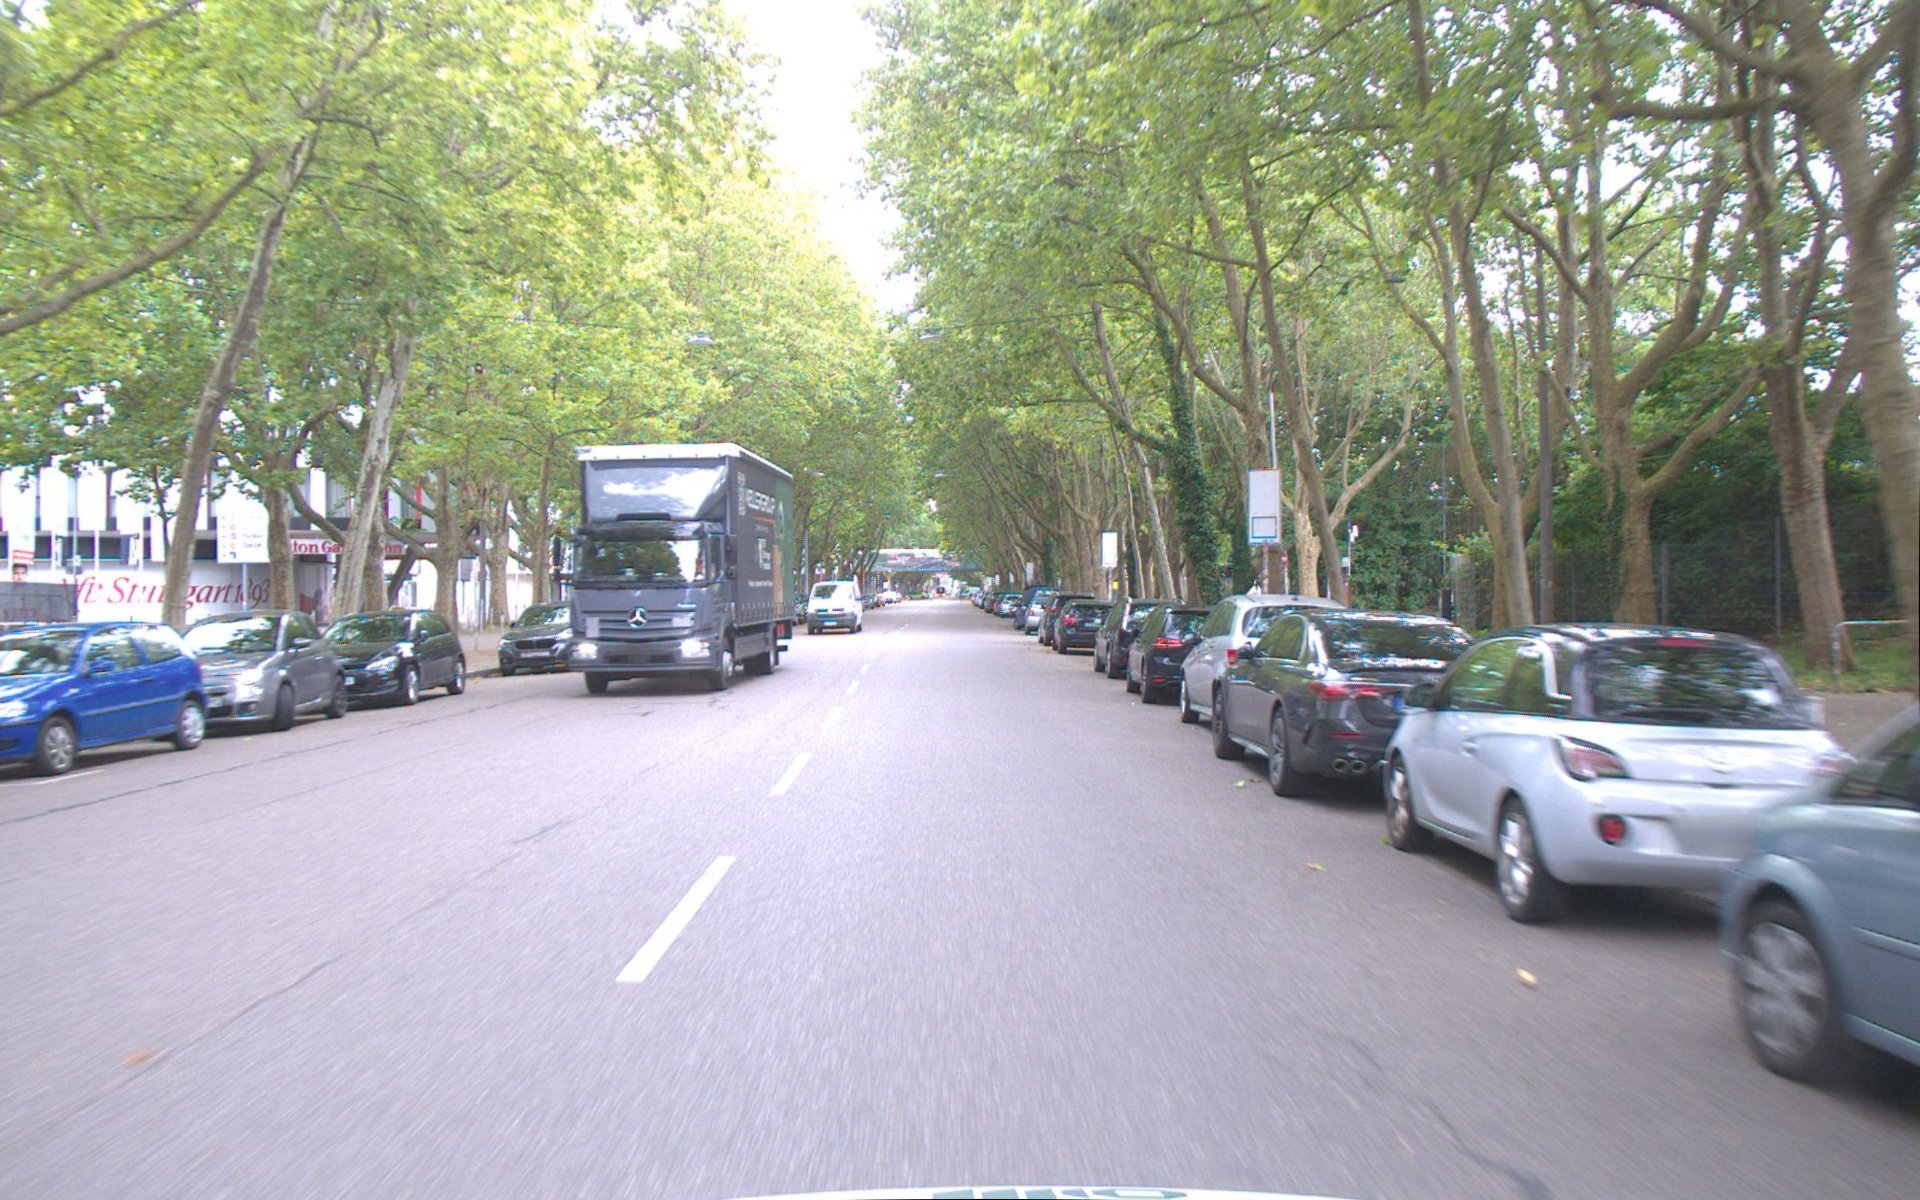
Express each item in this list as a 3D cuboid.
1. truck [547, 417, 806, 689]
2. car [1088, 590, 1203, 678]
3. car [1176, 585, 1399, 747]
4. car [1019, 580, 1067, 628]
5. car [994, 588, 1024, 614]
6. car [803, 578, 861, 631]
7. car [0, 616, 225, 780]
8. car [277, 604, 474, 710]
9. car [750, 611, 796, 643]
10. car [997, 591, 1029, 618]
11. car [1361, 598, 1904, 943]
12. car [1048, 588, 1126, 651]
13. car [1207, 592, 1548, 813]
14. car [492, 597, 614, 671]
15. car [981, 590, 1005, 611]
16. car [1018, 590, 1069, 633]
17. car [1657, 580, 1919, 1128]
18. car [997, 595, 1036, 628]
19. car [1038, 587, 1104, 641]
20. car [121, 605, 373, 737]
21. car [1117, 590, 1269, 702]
[{"bbox_3d":[-4.667,-0.708,29.389,2.586,3.970,9.542,-2,0,2],"label":"truck"},{"bbox_3d":[3.589,0.630,32.561,1.720,1.561,3.928,2,0,-1],"label":"car"},{"bbox_3d":[3.665,0.686,19.168,1.720,1.625,3.928,2,0,-1],"label":"car"},{"bbox_3d":[3.561,0.143,71.617,1.721,1.847,3.929,-4,1,-1],"label":"car"},{"bbox_3d":[3.122,0.051,105.942,1.720,1.561,3.928,-2,0,-1],"label":"car"},{"bbox_3d":[-4.881,0.135,63.611,1.940,1.967,4.112,0,0,-1],"label":"car"},{"bbox_3d":[-9.135,0.931,16.522,1.660,1.443,3.763,-3,-1,4],"label":"car"},{"bbox_3d":[-9.067,0.848,25.962,1.730,1.443,3.760,-3,-1,-1],"label":"car"},{"bbox_3d":[-9.069,1.335,80.377,1.857,1.463,3.998,-2,-1,-2],"label":"car"},{"bbox_3d":[3.208,0.285,100.678,1.720,1.561,3.928,-1,0,-1],"label":"car"},{"bbox_3d":[3.595,0.797,9.589,1.641,1.516,3.687,3,0,1],"label":"car"},{"bbox_3d":[3.394,0.509,44.700,1.720,1.561,3.928,2,0,-1],"label":"car"},{"bbox_3d":[3.398,0.749,14.351,1.720,1.516,4.416,3,0,-1],"label":"car"},{"bbox_3d":[-8.848,0.734,36.237,1.730,1.443,3.760,-3,-1,-1],"label":"car"},{"bbox_3d":[2.537,0.024,127.698,1.720,1.561,3.928,2,0,-1],"label":"car"},{"bbox_3d":[3.229,0.442,64.594,1.720,1.561,3.928,2,0,-1],"label":"car"},{"bbox_3d":[3.687,0.790,4.439,1.685,1.594,4.092,3,0,-3],"label":"car"},{"bbox_3d":[2.766,0.546,81.574,1.720,1.561,3.928,2,0,-1],"label":"car"},{"bbox_3d":[3.369,0.392,50.698,1.720,1.561,3.928,0,1,-1],"label":"car"},{"bbox_3d":[-9.021,0.855,21.265,1.731,1.443,3.758,-3,-1,-4],"label":"car"},{"bbox_3d":[3.537,0.661,25.766,1.720,1.561,3.928,2,0,-1],"label":"car"}]
